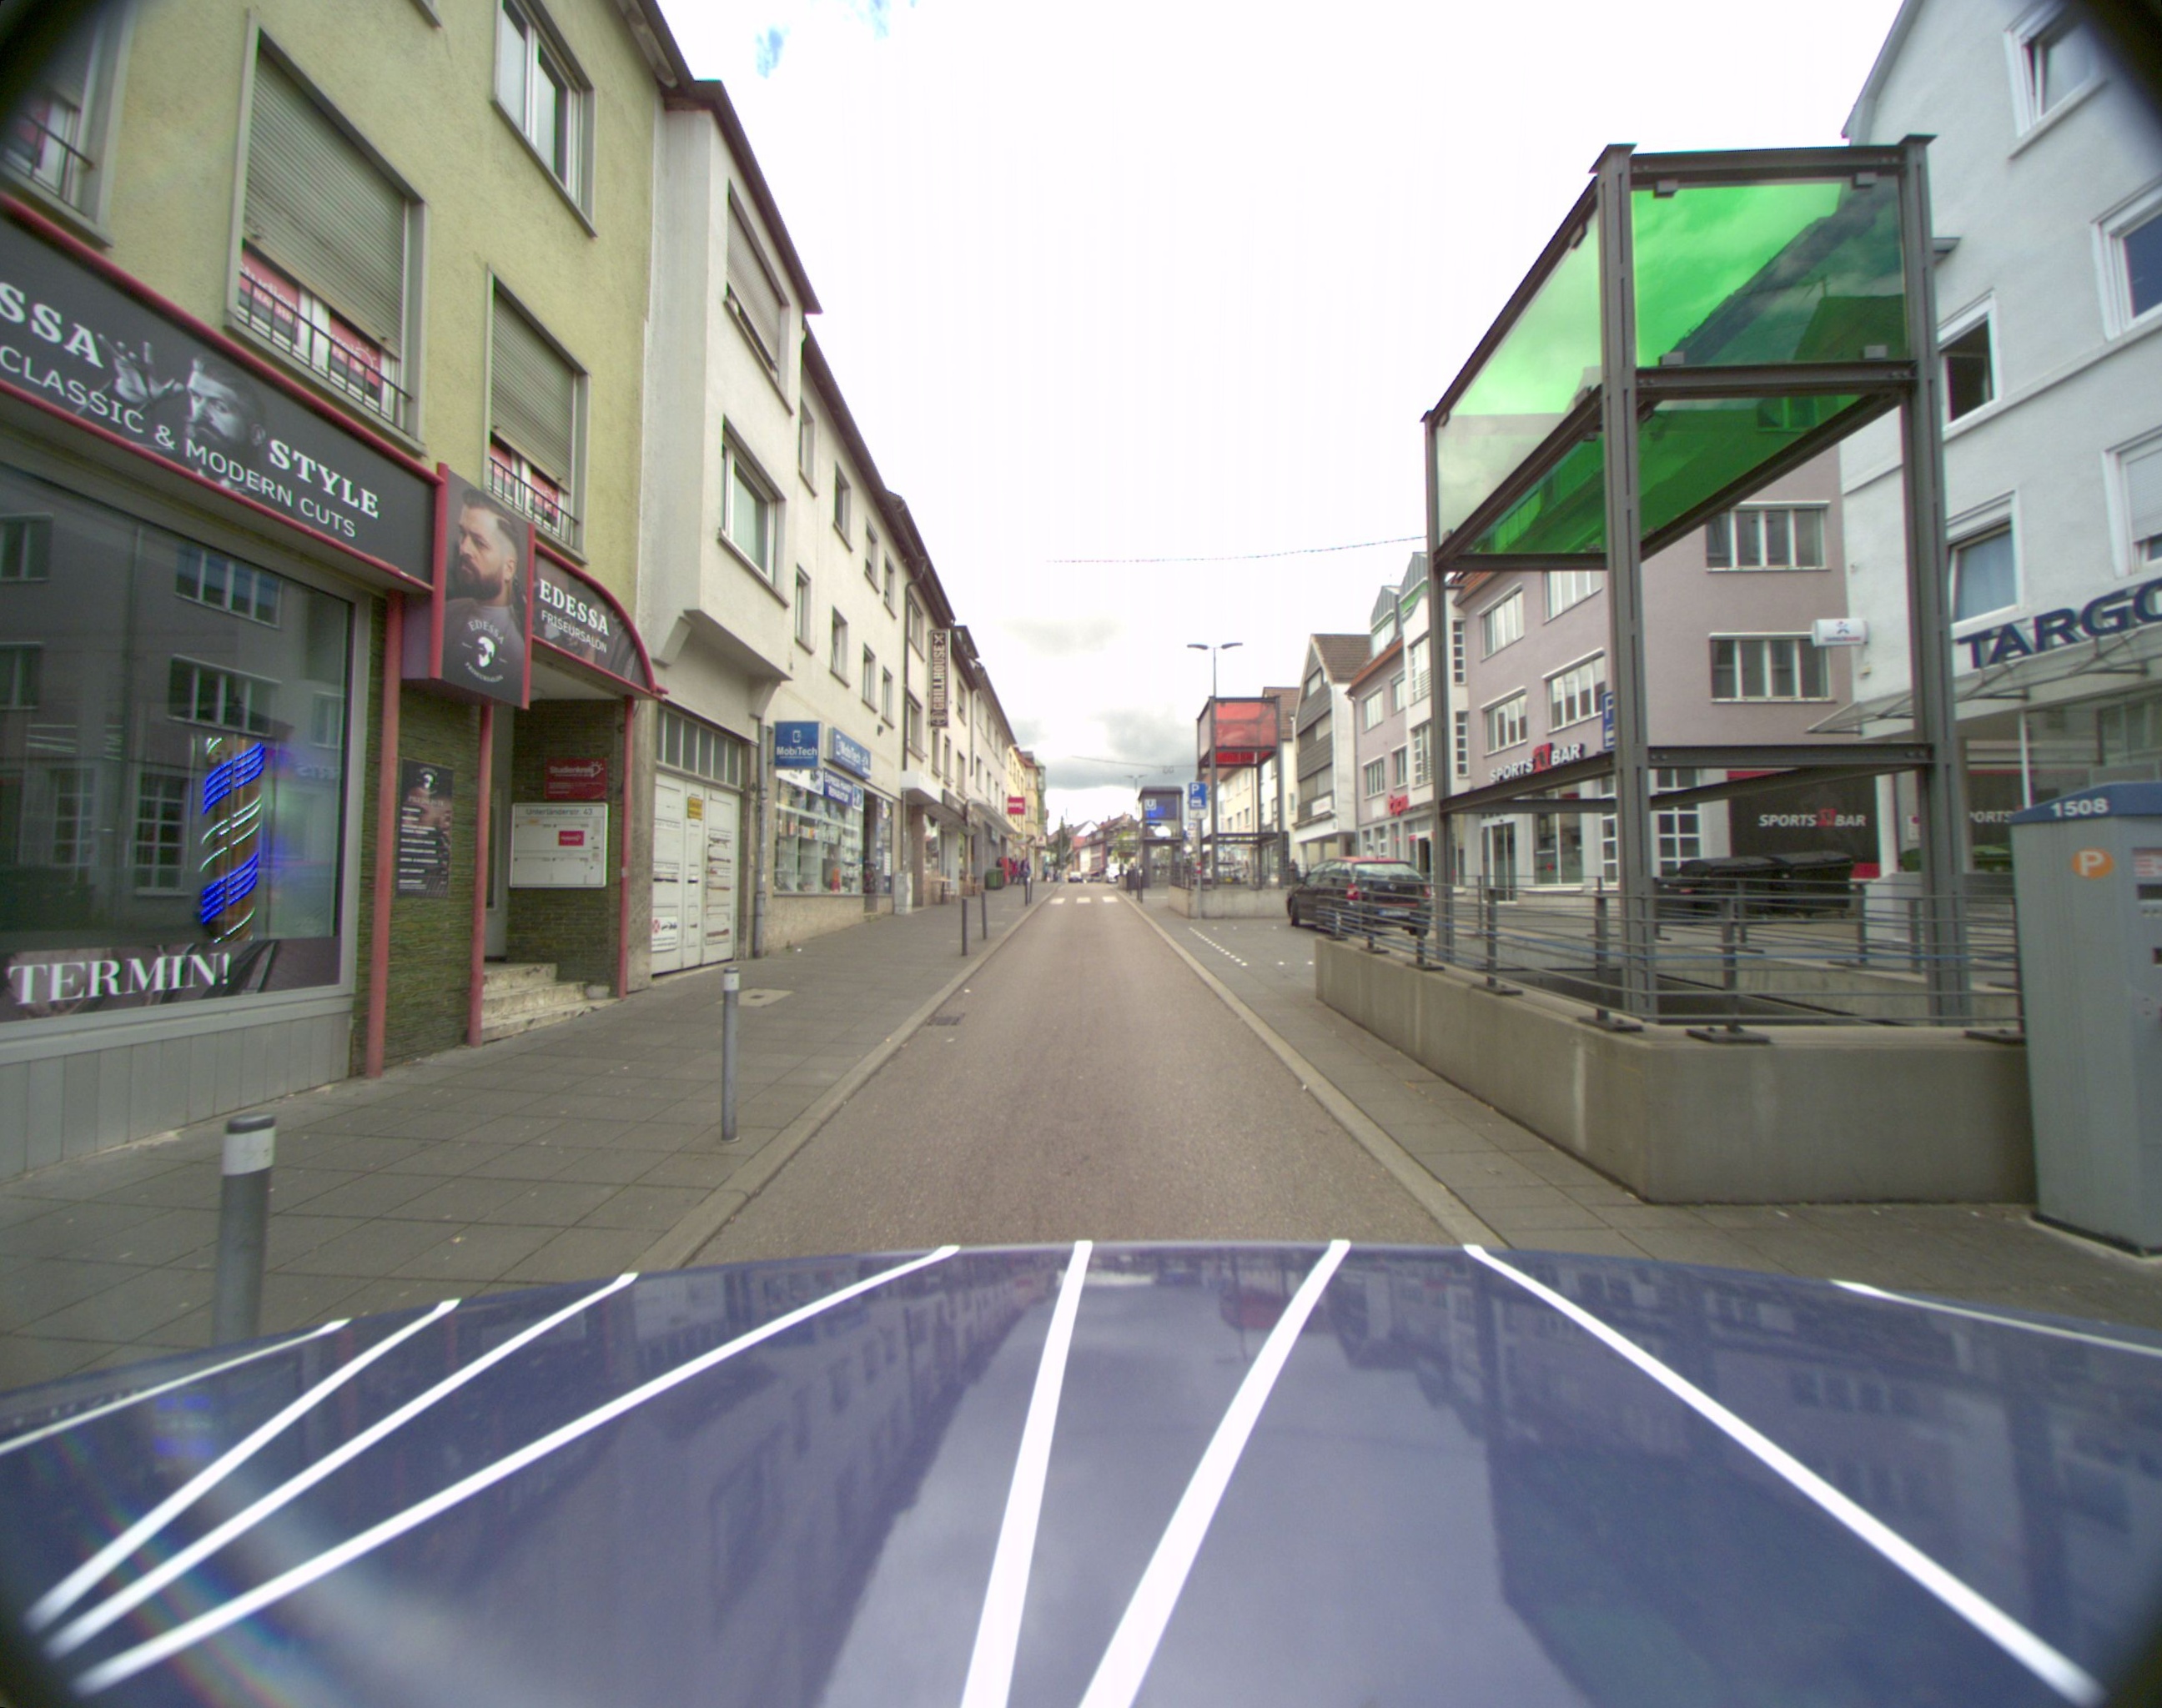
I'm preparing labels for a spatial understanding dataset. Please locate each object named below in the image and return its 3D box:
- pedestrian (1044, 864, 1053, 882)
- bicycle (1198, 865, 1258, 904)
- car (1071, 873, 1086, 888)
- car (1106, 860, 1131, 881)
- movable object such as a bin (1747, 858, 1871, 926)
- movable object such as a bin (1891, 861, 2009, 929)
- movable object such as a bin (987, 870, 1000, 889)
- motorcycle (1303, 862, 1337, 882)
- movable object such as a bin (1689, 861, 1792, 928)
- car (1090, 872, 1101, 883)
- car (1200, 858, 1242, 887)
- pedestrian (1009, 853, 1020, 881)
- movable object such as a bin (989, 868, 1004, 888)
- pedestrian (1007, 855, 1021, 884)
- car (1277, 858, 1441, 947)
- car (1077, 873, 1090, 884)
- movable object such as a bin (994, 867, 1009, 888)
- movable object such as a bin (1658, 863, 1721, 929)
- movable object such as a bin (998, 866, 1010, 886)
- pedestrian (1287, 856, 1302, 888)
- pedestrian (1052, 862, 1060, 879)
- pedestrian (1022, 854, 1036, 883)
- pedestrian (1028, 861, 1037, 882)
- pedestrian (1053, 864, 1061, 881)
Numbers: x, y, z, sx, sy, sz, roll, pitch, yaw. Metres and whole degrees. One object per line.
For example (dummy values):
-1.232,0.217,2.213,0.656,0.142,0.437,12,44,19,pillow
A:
-3.093,1.824,72.165,0.657,1.620,0.743,-2,1,-6,pedestrian
4.635,0.954,23.980,1.782,1.216,0.459,0,1,0,bicycle
-0.315,3.083,89.886,1.741,1.608,3.843,-2,0,0,car
2.796,1.241,57.196,1.754,1.452,3.601,-2,0,1,car
15.513,0.789,16.249,1.286,1.368,1.407,-1,0,0,movable object such as a bin
18.296,0.845,16.036,1.286,1.368,1.044,-1,0,0,movable object such as a bin
-4.271,1.245,37.167,0.568,0.951,0.498,0,0,0,movable object such as a bin
14.565,1.113,46.340,1.854,1.134,0.634,-2,1,0,motorcycle
14.202,0.848,16.405,1.286,1.368,1.067,-1,0,0,movable object such as a bin
2.387,3.853,125.969,1.741,1.608,4.000,-2,0,0,car
8.262,1.063,45.018,1.684,1.562,4.122,-2,0,0,car
-4.041,0.778,46.230,0.627,1.716,0.607,1,0,-5,pedestrian
-4.217,1.192,37.780,0.670,1.024,0.560,0,0,0,movable object such as a bin
-3.937,0.898,44.670,0.740,1.660,0.627,1,0,-9,pedestrian
5.141,0.819,14.623,1.573,1.466,3.854,0,0,-3,car
0.386,3.954,121.985,1.741,1.608,3.999,-2,0,-2,car
-4.027,1.193,38.502,0.652,1.074,0.673,0,0,0,movable object such as a bin
13.067,0.876,16.341,0.691,1.368,0.808,-1,0,0,movable object such as a bin
-4.096,1.180,40.530,0.560,1.050,0.559,0,0,0,movable object such as a bin
11.540,0.977,41.050,0.592,1.706,0.513,-2,1,0,pedestrian
-2.351,1.556,72.189,0.657,1.620,0.743,-2,1,-6,pedestrian
-3.085,0.840,45.034,0.740,1.660,0.786,1,0,-9,pedestrian
-3.846,1.363,59.892,0.627,1.620,0.607,-2,1,-5,pedestrian
-2.370,1.794,75.188,0.657,1.620,0.743,-2,1,-2,pedestrian
